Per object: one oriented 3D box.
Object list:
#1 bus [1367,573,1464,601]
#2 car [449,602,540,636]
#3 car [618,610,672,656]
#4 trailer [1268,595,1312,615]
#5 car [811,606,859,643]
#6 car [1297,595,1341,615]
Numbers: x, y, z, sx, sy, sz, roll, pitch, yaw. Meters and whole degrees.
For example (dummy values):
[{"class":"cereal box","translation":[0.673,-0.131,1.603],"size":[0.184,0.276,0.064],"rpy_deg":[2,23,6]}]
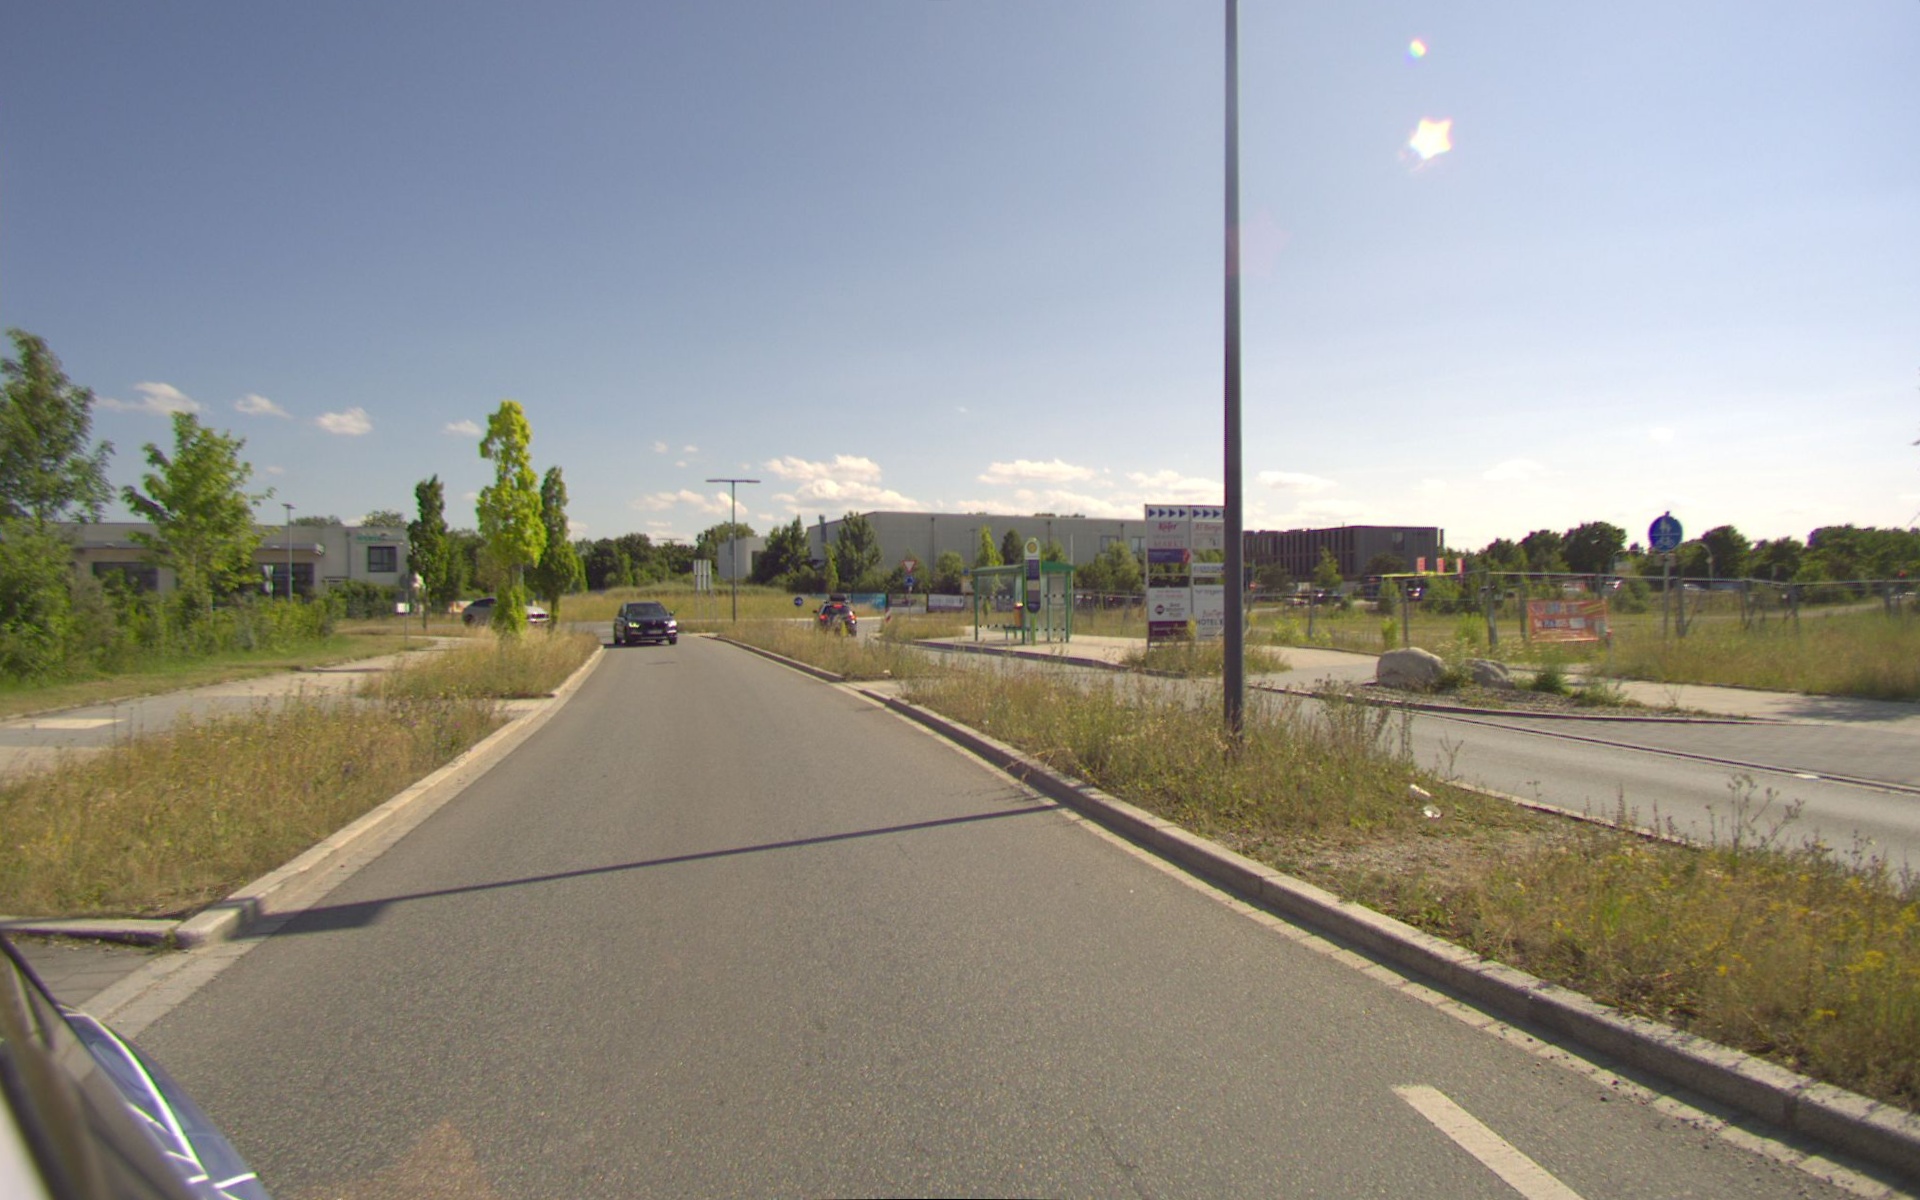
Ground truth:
[{"class":"bus","translation":[47.653,-1.388,105.757],"size":[11.368,2.756,2.589],"rpy_deg":[-1,1,-27]},{"class":"car","translation":[-23.786,0.946,51.722],"size":[4.371,1.585,1.828],"rpy_deg":[0,2,24]},{"class":"car","translation":[-11.943,1.217,38.444],"size":[1.811,1.586,4.012],"rpy_deg":[-2,0,-17]},{"class":"trailer","translation":[31.965,0.496,98.043],"size":[3.931,1.874,1.834],"rpy_deg":[0,0,-27]},{"class":"car","translation":[-5.707,1.077,45.815],"size":[1.968,1.528,4.205],"rpy_deg":[0,0,-9]},{"class":"car","translation":[35.409,0.499,99.809],"size":[3.931,1.874,1.834],"rpy_deg":[0,0,-27]}]
